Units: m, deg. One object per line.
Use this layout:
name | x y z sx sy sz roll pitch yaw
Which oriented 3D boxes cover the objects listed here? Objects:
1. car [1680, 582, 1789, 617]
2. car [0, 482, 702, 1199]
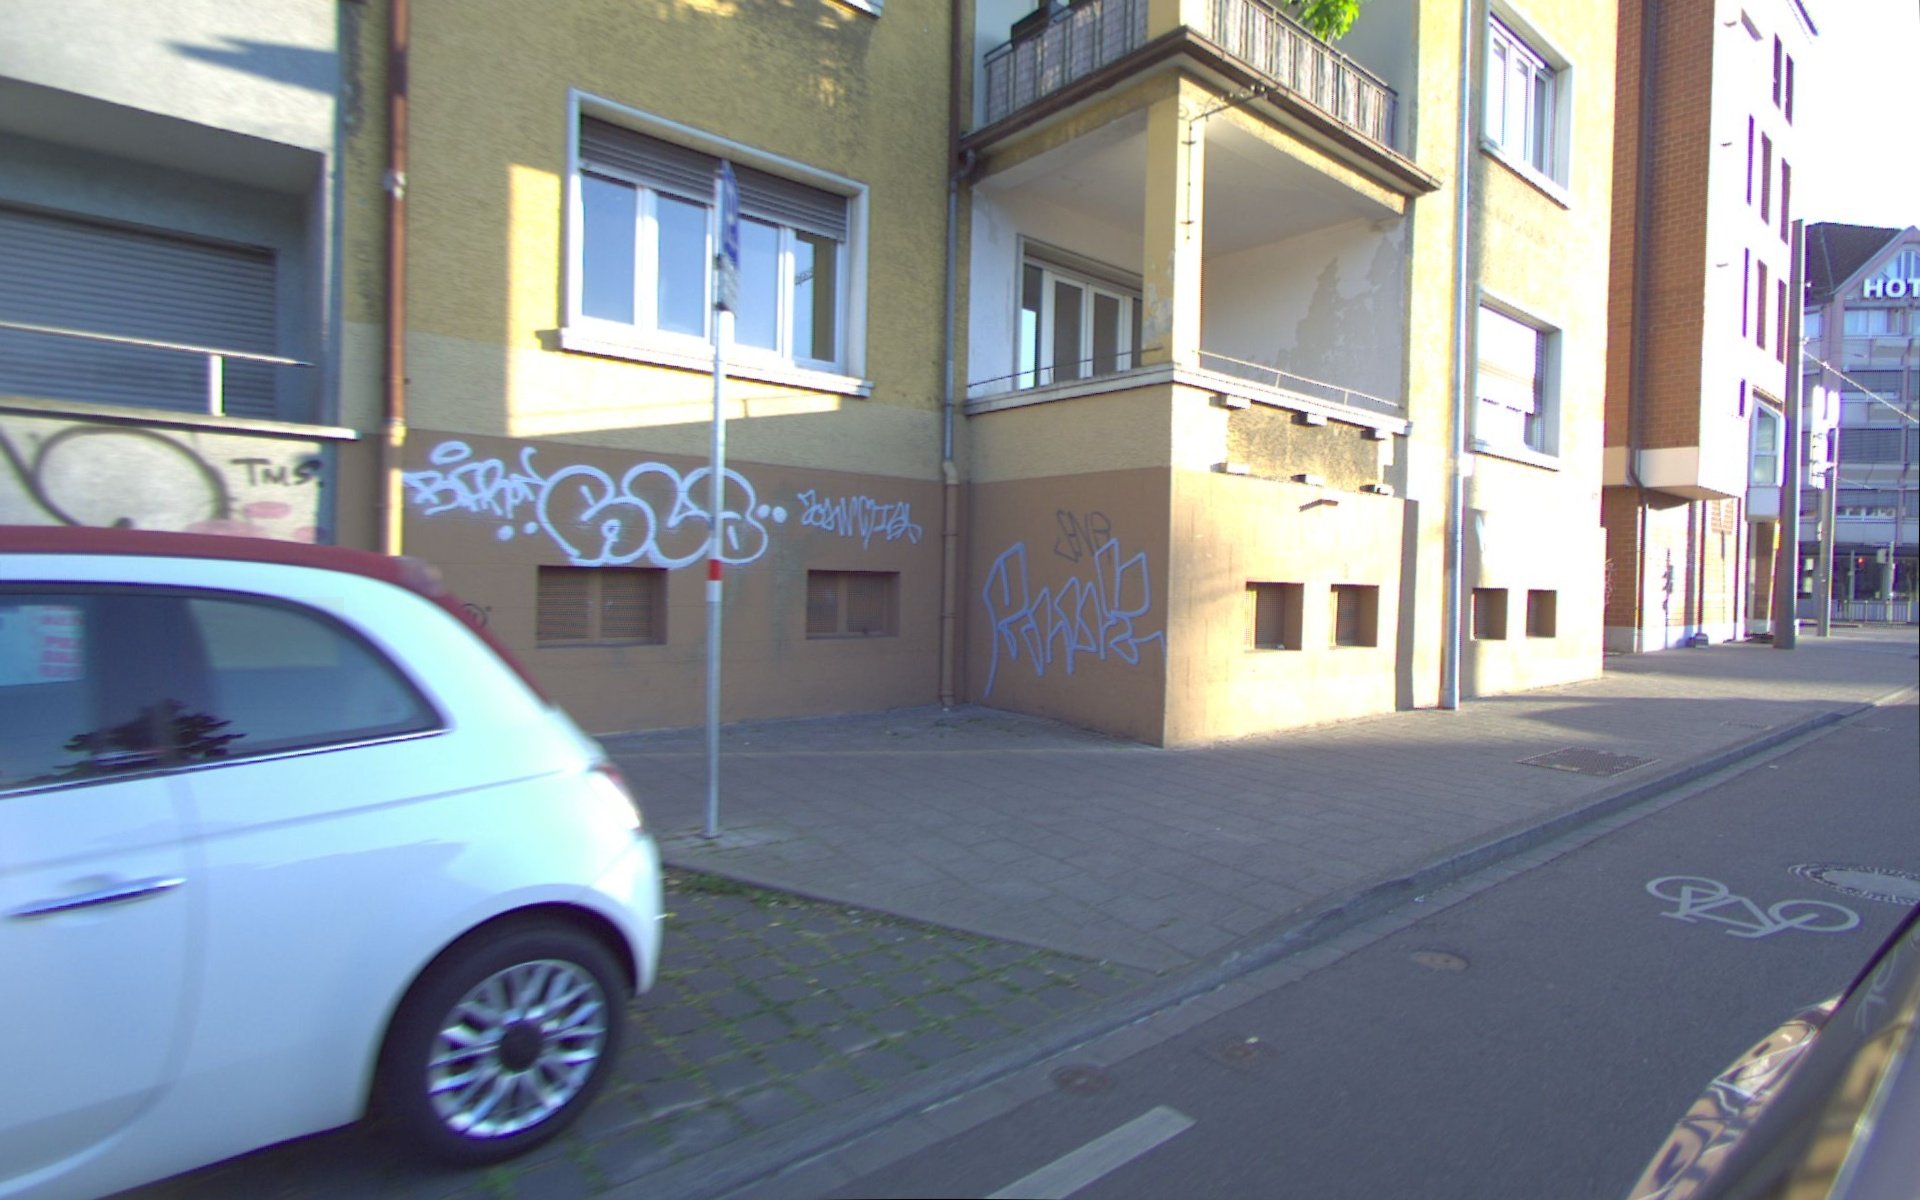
car | 38.892 -0.074 50.869 1.717 1.585 4.023 0 2 -37
car | -2.572 0.505 2.117 3.540 1.535 1.673 -1 6 -42
